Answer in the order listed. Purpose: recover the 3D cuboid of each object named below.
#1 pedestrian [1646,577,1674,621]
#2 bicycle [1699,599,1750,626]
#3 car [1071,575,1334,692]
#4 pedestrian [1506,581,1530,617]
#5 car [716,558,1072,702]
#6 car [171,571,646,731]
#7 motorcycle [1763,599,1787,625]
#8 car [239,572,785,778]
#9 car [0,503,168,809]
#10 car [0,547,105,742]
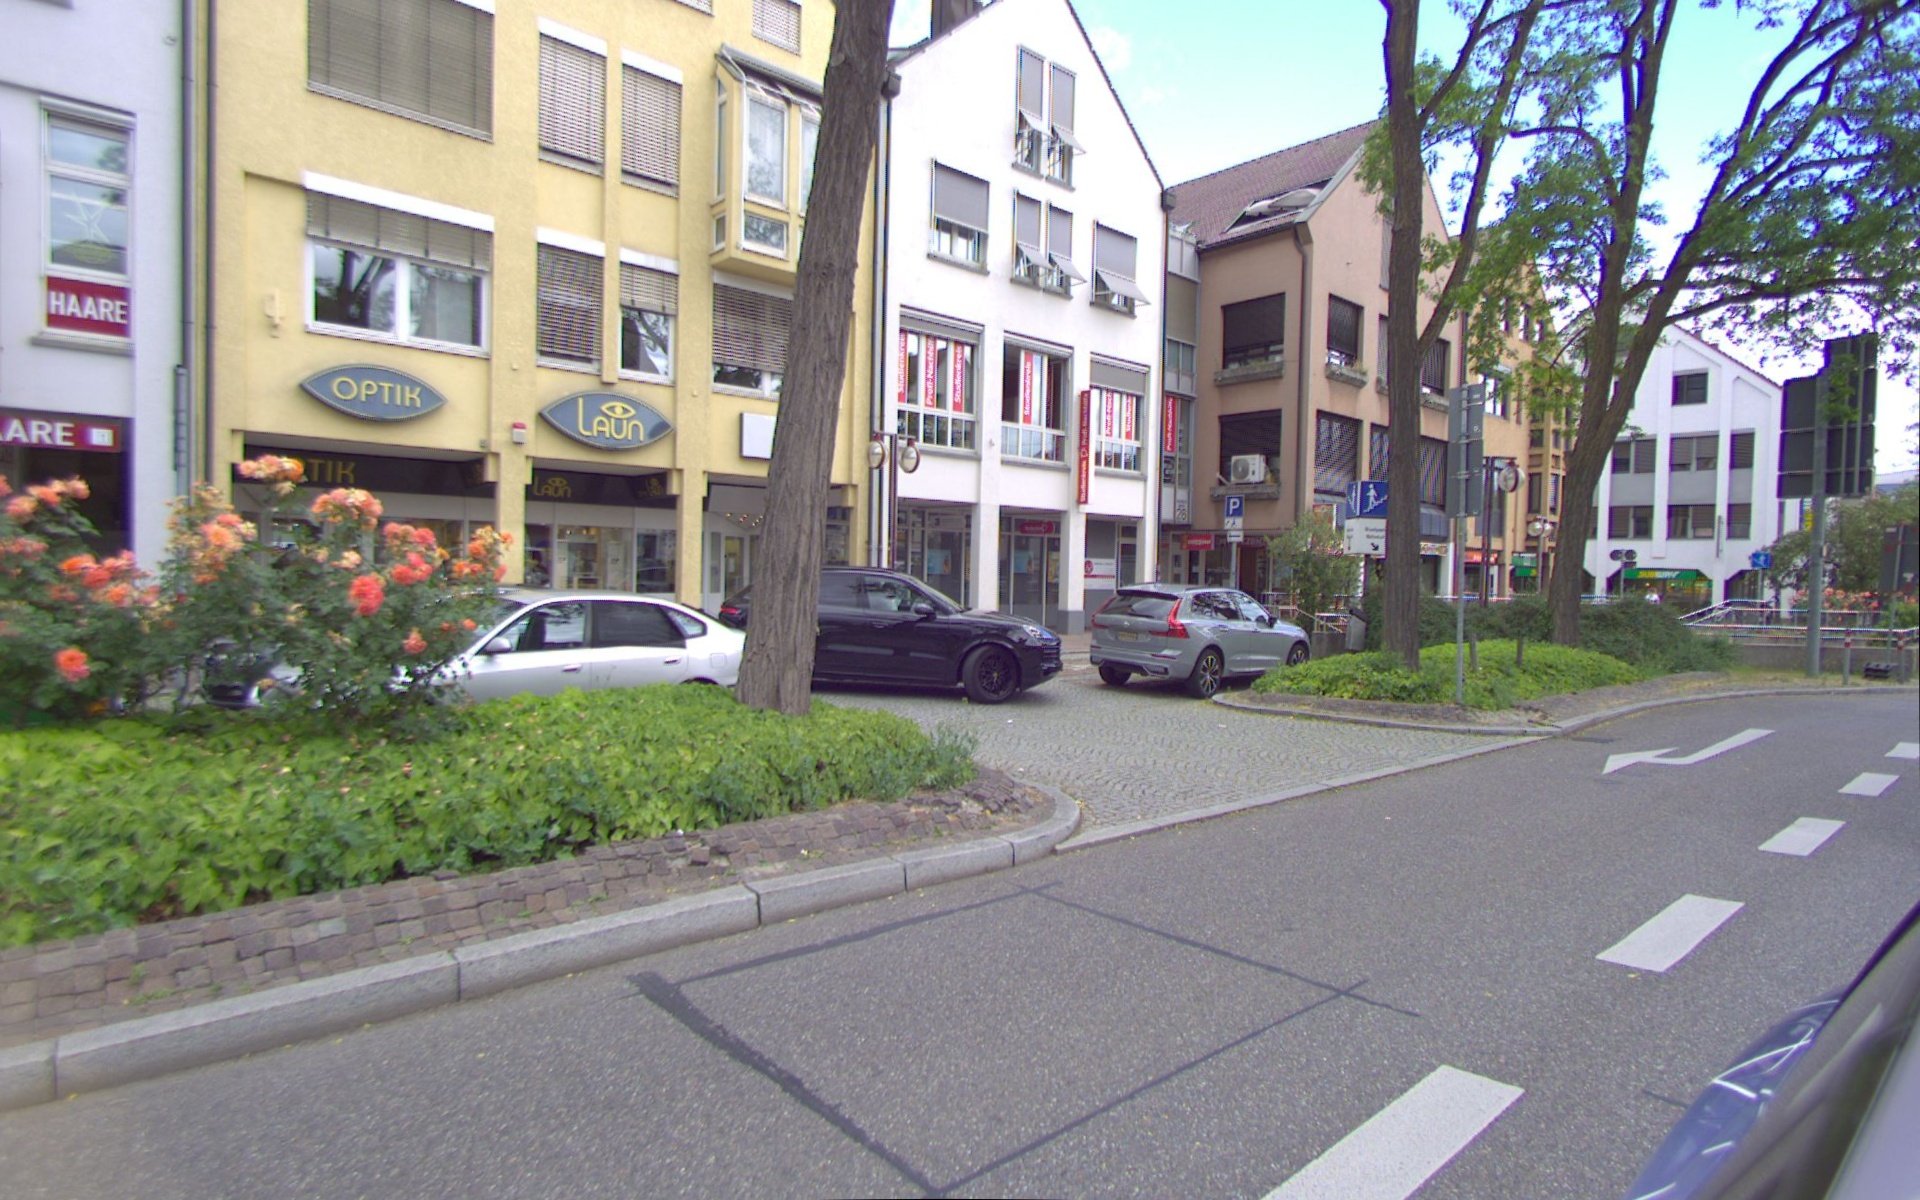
[{"bbox_3d":[30.013,-0.041,43.390,0.772,1.846,0.869,0,0,-45],"label":"pedestrian"},{"bbox_3d":[30.764,0.477,40.737,1.584,1.014,0.409,2,1,37],"label":"bicycle"},{"bbox_3d":[4.105,0.452,16.644,4.685,1.615,1.995,0,2,-44],"label":"car"},{"bbox_3d":[28.158,-0.049,51.081,0.882,1.779,0.931,2,1,38],"label":"pedestrian"},{"bbox_3d":[-0.867,0.351,14.060,4.575,1.691,1.859,2,2,0],"label":"car"},{"bbox_3d":[-6.037,0.444,11.391,4.344,1.393,2.000,0,3,-43],"label":"car"},{"bbox_3d":[35.375,0.502,43.920,1.961,1.081,0.464,0,1,-41],"label":"motorcycle"},{"bbox_3d":[-3.973,0.529,9.474,4.344,1.468,1.765,0,2,-43],"label":"car"},{"bbox_3d":[-7.628,0.300,5.969,4.528,1.899,1.883,0,3,-43],"label":"car"},{"bbox_3d":[-9.509,0.329,7.862,4.320,1.561,1.799,0,3,-43],"label":"car"}]
